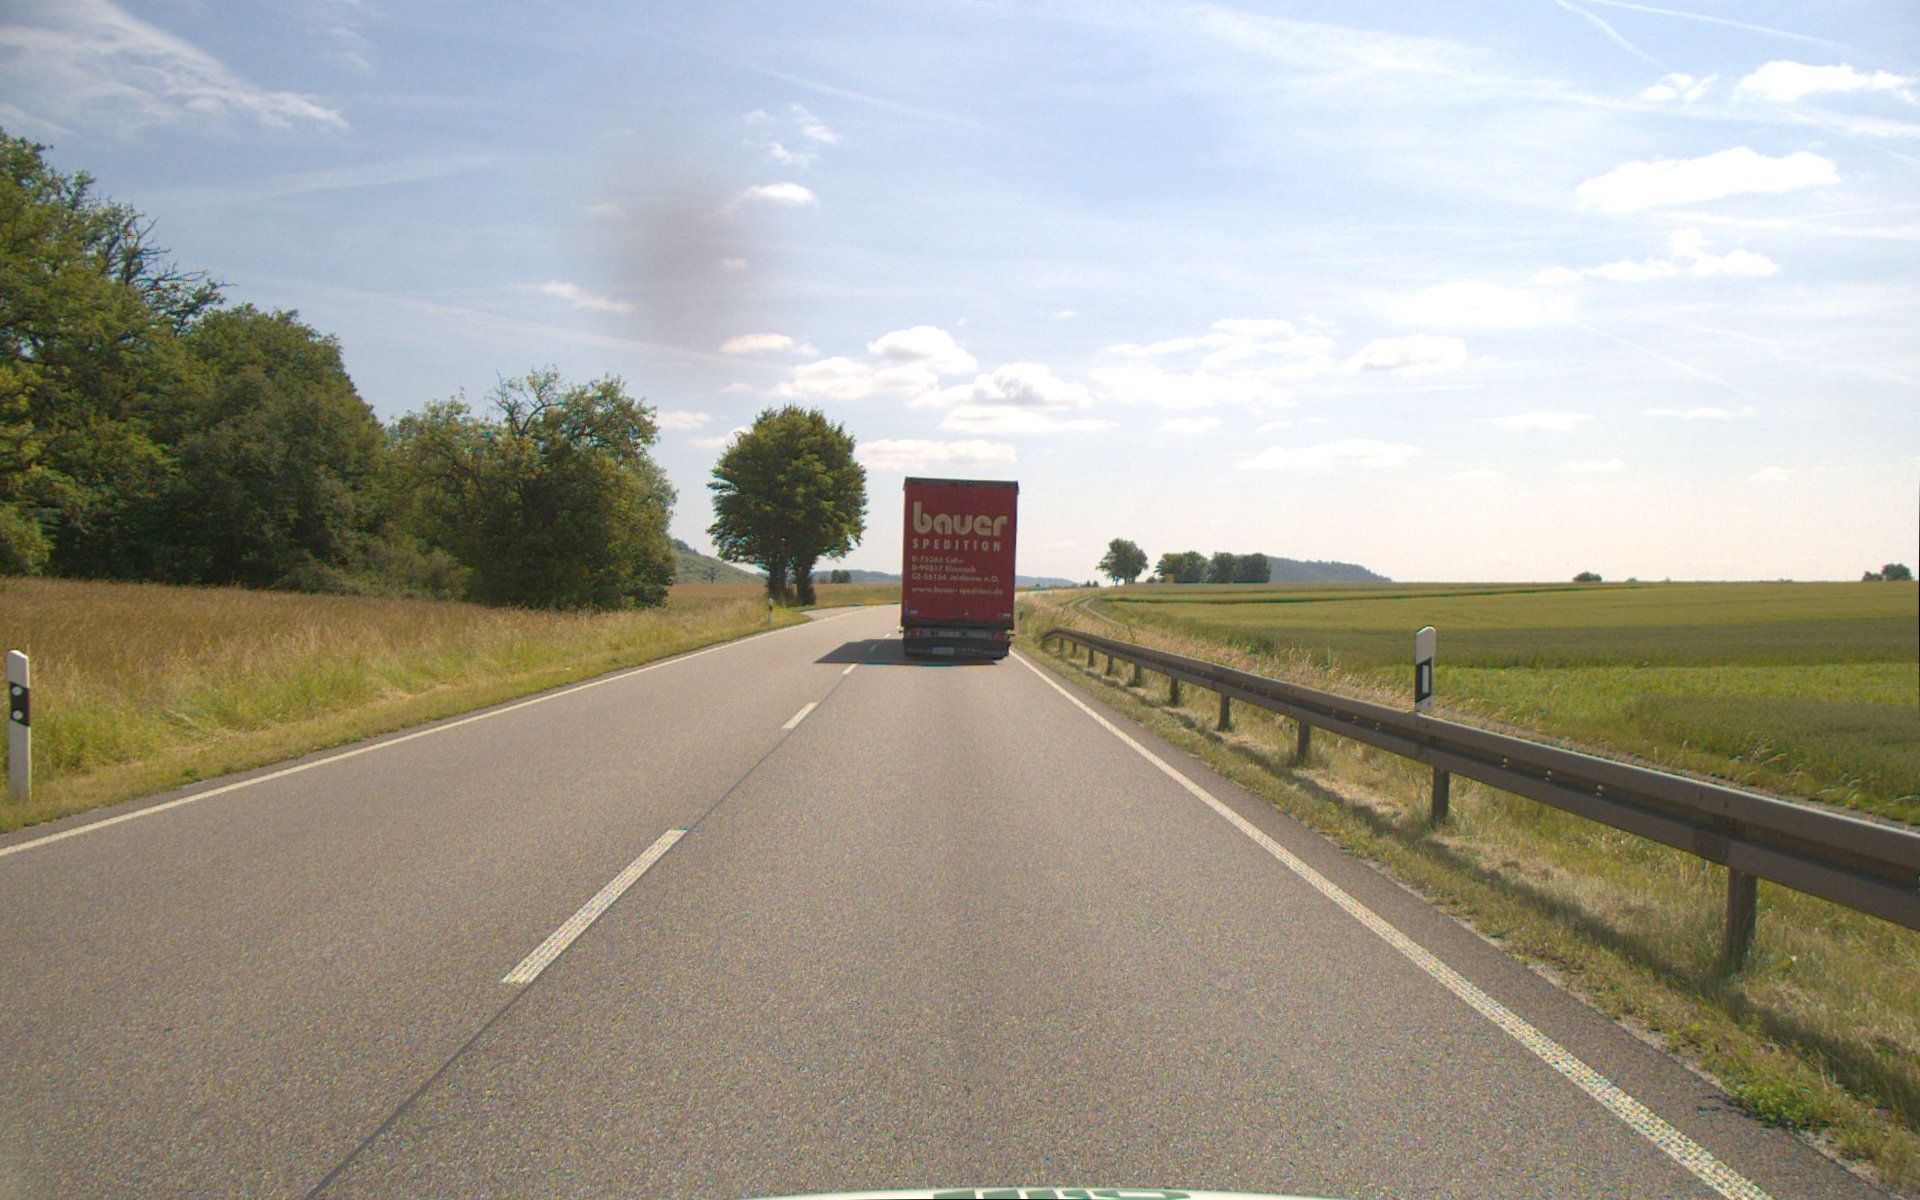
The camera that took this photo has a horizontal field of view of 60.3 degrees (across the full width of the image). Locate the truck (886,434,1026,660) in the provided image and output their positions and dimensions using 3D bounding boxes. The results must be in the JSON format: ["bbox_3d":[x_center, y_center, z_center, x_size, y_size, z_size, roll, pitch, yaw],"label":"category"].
[{"bbox_3d":[-0.247,-1.103,40.430,2.915,4.796,9.361,2,-1,-2],"label":"truck"}]
